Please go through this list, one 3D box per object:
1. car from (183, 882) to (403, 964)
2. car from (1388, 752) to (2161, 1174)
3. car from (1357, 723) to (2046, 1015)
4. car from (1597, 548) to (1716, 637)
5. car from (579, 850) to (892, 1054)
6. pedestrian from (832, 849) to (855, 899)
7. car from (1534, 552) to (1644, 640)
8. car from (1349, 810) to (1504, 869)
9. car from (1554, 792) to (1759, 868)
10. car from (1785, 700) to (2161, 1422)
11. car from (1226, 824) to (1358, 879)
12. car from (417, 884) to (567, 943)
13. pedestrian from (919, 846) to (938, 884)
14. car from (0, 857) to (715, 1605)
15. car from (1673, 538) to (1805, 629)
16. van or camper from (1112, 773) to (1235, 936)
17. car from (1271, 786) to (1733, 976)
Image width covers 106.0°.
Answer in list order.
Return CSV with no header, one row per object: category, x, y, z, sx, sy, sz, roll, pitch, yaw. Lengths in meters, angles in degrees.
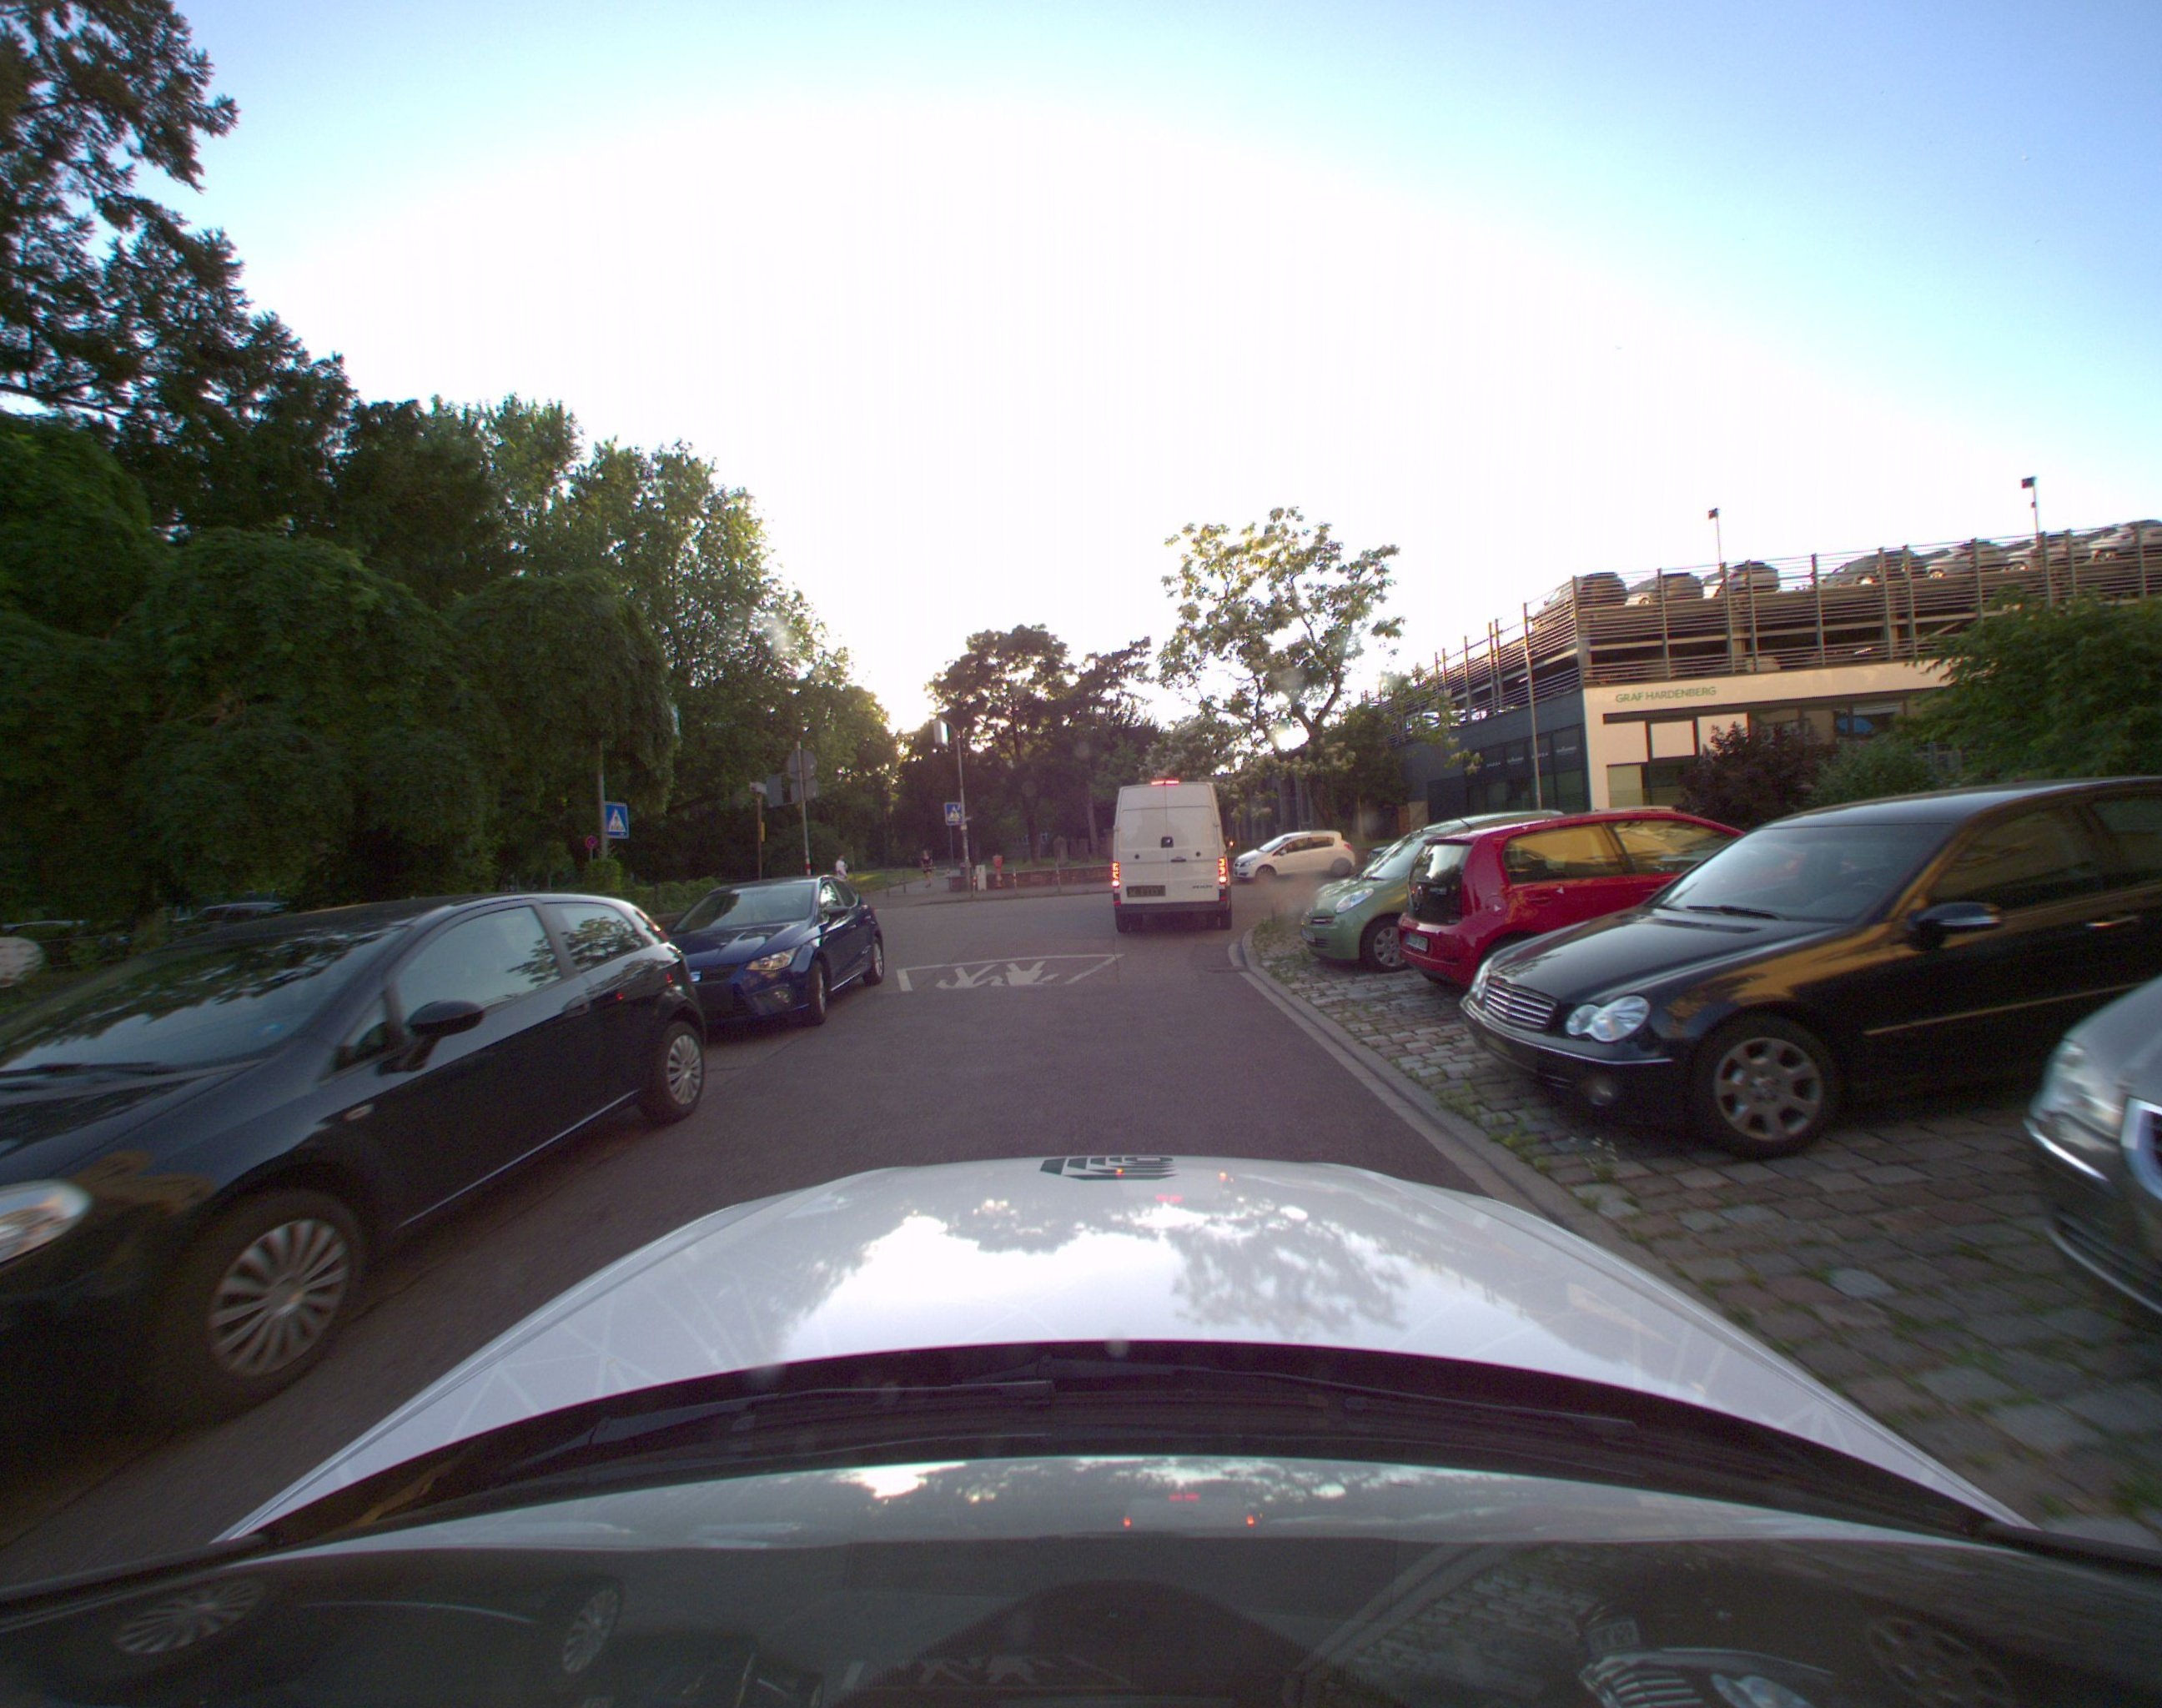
car,-21.298,1.836,22.115,4.211,1.799,1.824,-5,-3,2
car,4.251,0.391,4.399,4.392,1.531,1.844,-5,-2,-2
car,4.978,0.123,7.099,4.386,1.631,1.847,-8,0,3
car,22.104,-10.001,31.480,1.983,2.013,4.007,-3,0,6
car,-3.354,0.816,8.783,1.729,1.567,3.787,-5,0,-2
pedestrian,-8.794,0.729,30.154,0.591,1.809,0.621,-3,0,2
car,19.542,-9.896,31.541,1.983,2.013,4.007,-3,0,6
car,11.298,-0.470,26.859,4.272,1.503,1.826,-5,0,5
car,14.579,-0.591,20.815,3.819,1.523,1.826,-5,0,5
car,4.605,0.242,1.811,4.392,1.661,1.844,-7,-2,-2
car,6.980,-0.094,27.277,3.844,1.574,1.957,-3,1,-1
car,-20.539,2.066,28.491,3.831,1.491,1.828,-4,6,7
pedestrian,-6.751,0.464,36.035,0.644,1.648,0.674,-2,0,1
car,-3.279,0.887,3.448,1.729,1.567,3.695,-5,0,-2
car,24.808,-10.137,30.909,1.983,2.013,4.007,-3,0,6
van or camper,2.026,-0.026,16.444,1.981,2.618,6.420,0,0,9
car,4.707,0.302,9.584,4.392,1.631,1.844,-5,-2,-2
